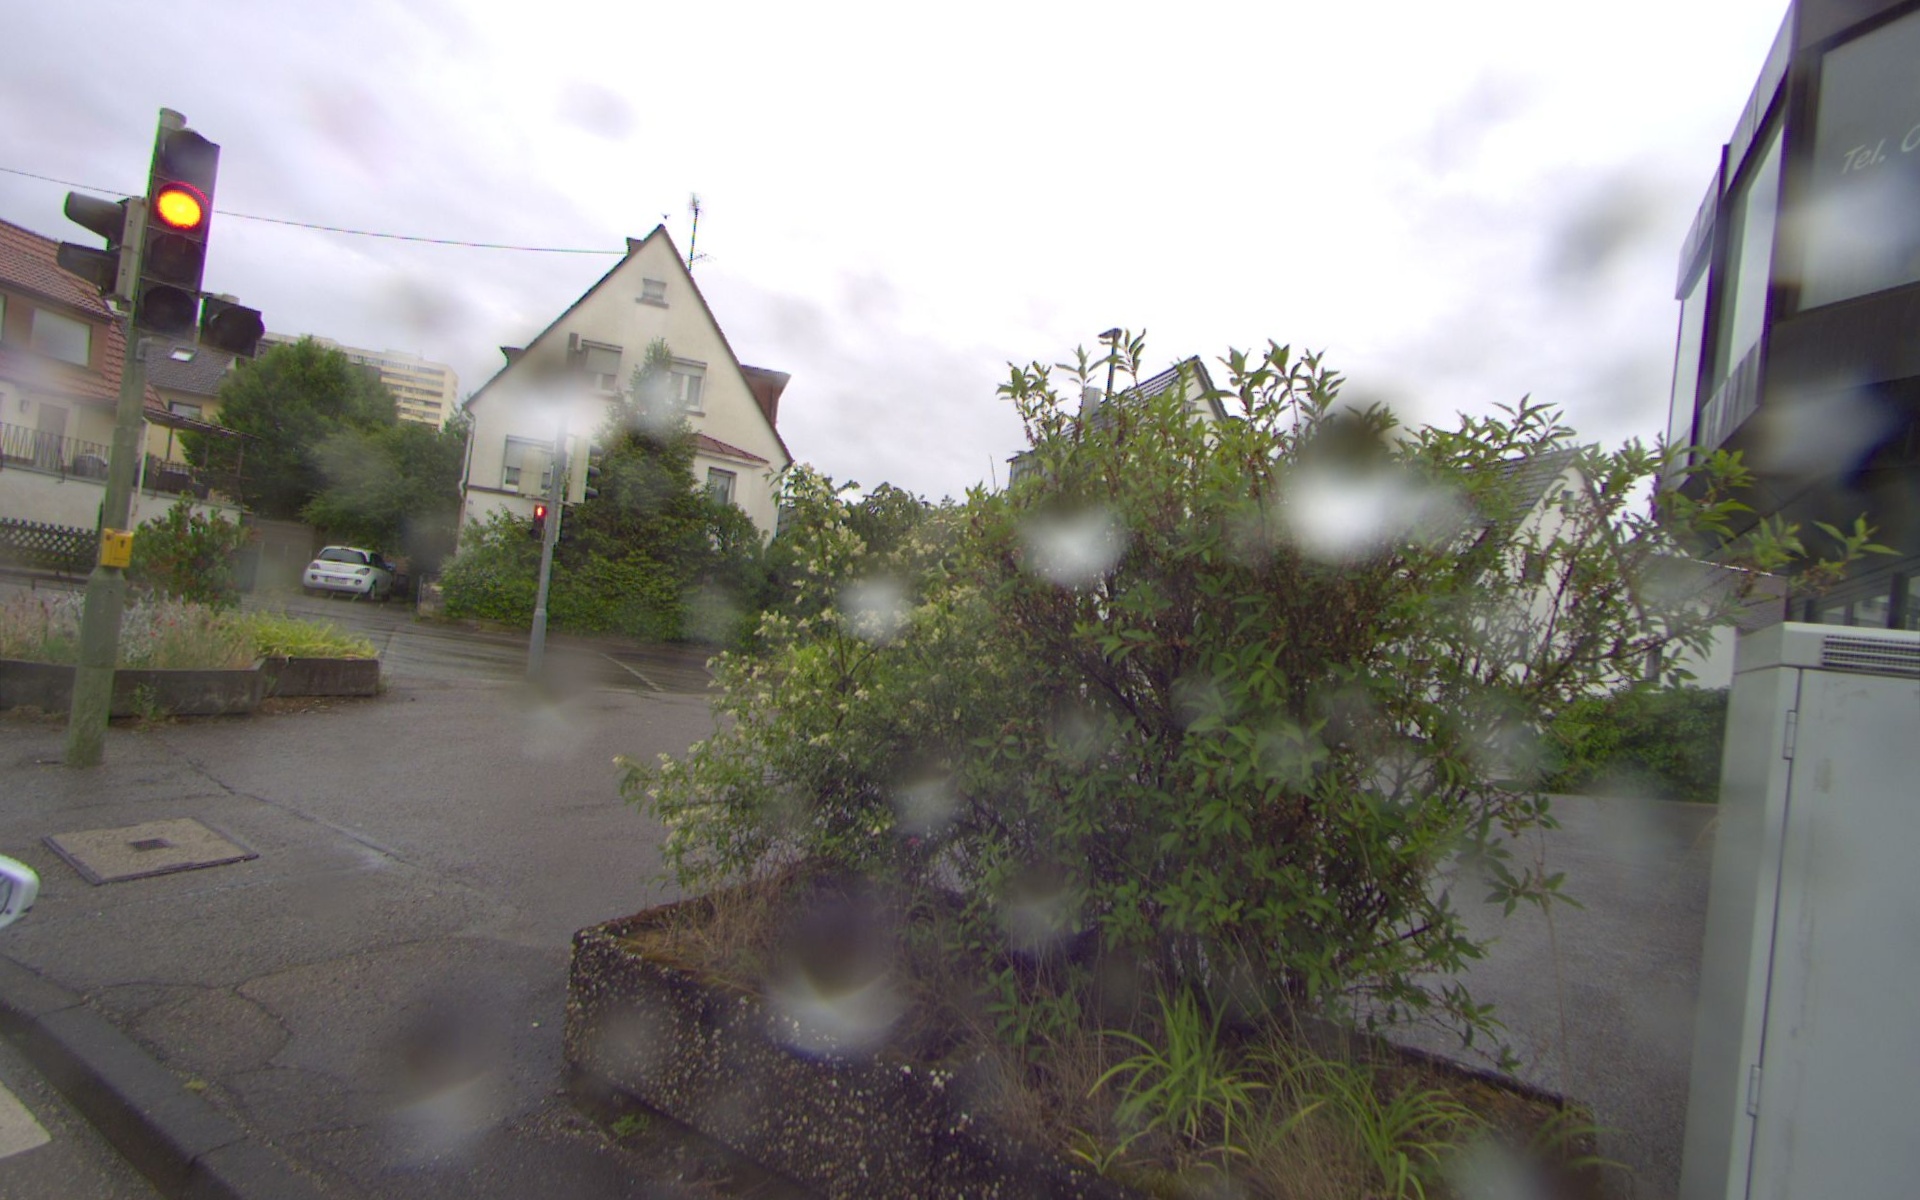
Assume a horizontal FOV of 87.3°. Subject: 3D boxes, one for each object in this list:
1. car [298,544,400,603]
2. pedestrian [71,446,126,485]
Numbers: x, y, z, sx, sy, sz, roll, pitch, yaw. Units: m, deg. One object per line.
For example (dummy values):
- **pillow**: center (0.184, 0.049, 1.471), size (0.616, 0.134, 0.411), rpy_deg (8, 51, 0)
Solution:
- **car**: center (-17.763, -0.740, 29.419), size (1.794, 1.378, 3.981), rpy_deg (8, -2, -22)
- **pedestrian**: center (-24.279, -3.797, 28.369), size (0.623, 0.893, 0.920), rpy_deg (5, -2, 13)
